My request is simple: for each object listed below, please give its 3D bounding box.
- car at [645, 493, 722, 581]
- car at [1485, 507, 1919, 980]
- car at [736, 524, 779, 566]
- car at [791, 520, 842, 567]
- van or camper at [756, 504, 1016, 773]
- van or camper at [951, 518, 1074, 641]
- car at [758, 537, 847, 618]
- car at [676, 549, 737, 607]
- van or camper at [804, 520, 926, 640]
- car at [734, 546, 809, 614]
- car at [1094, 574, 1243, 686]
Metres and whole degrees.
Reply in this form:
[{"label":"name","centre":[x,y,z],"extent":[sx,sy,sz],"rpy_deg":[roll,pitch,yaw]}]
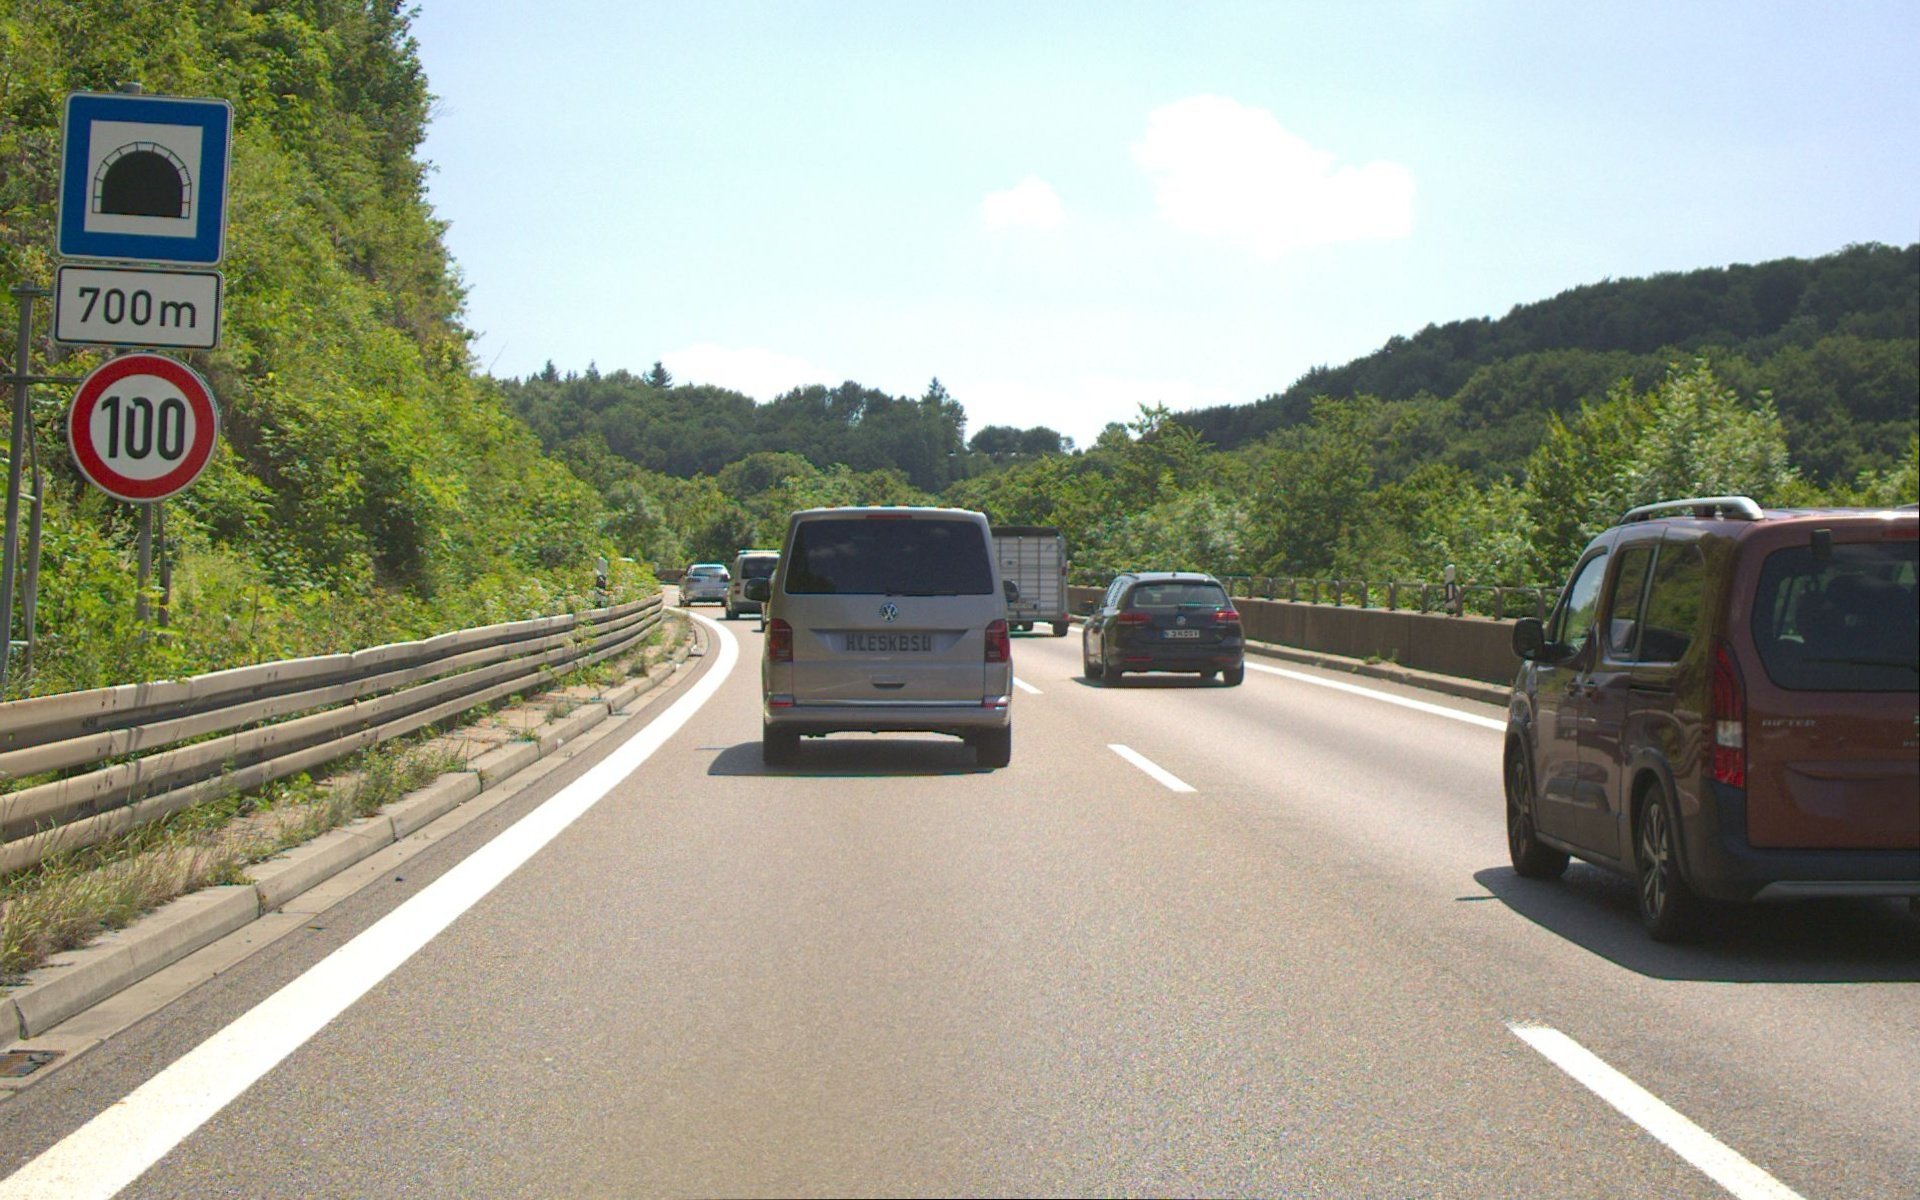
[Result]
[{"label":"car","centre":[-15.899,-3.606,197.091],"extent":[4.042,4.855,10.111],"rpy_deg":[1,1,-7]},{"label":"car","centre":[3.654,0.531,15.294],"extent":[1.833,1.778,4.676],"rpy_deg":[0,0,-1]},{"label":"car","centre":[-9.879,-2.664,167.283],"extent":[1.993,2.007,4.001],"rpy_deg":[1,1,-4]},{"label":"car","centre":[-6.364,-2.500,152.031],"extent":[1.993,2.007,4.001],"rpy_deg":[1,1,-6]},{"label":"van or camper","centre":[-0.629,0.260,27.178],"extent":[1.875,1.943,4.294],"rpy_deg":[0,0,-2]},{"label":"van or camper","centre":[1.104,-0.453,74.645],"extent":[2.263,2.542,4.737],"rpy_deg":[-1,0,-4]},{"label":"car","centre":[-3.606,-0.532,79.265],"extent":[1.993,1.811,4.000],"rpy_deg":[1,1,-2]},{"label":"car","centre":[-8.622,-0.752,116.675],"extent":[1.993,1.908,4.001],"rpy_deg":[0,1,-5]},{"label":"van or camper","centre":[-3.187,-0.684,113.074],"extent":[3.275,3.776,8.113],"rpy_deg":[1,1,-7]},{"label":"car","centre":[-5.187,-0.574,95.016],"extent":[1.993,1.811,4.000],"rpy_deg":[1,1,-2]},{"label":"car","centre":[2.689,0.358,45.007],"extent":[1.768,1.371,3.592],"rpy_deg":[1,1,1]}]
